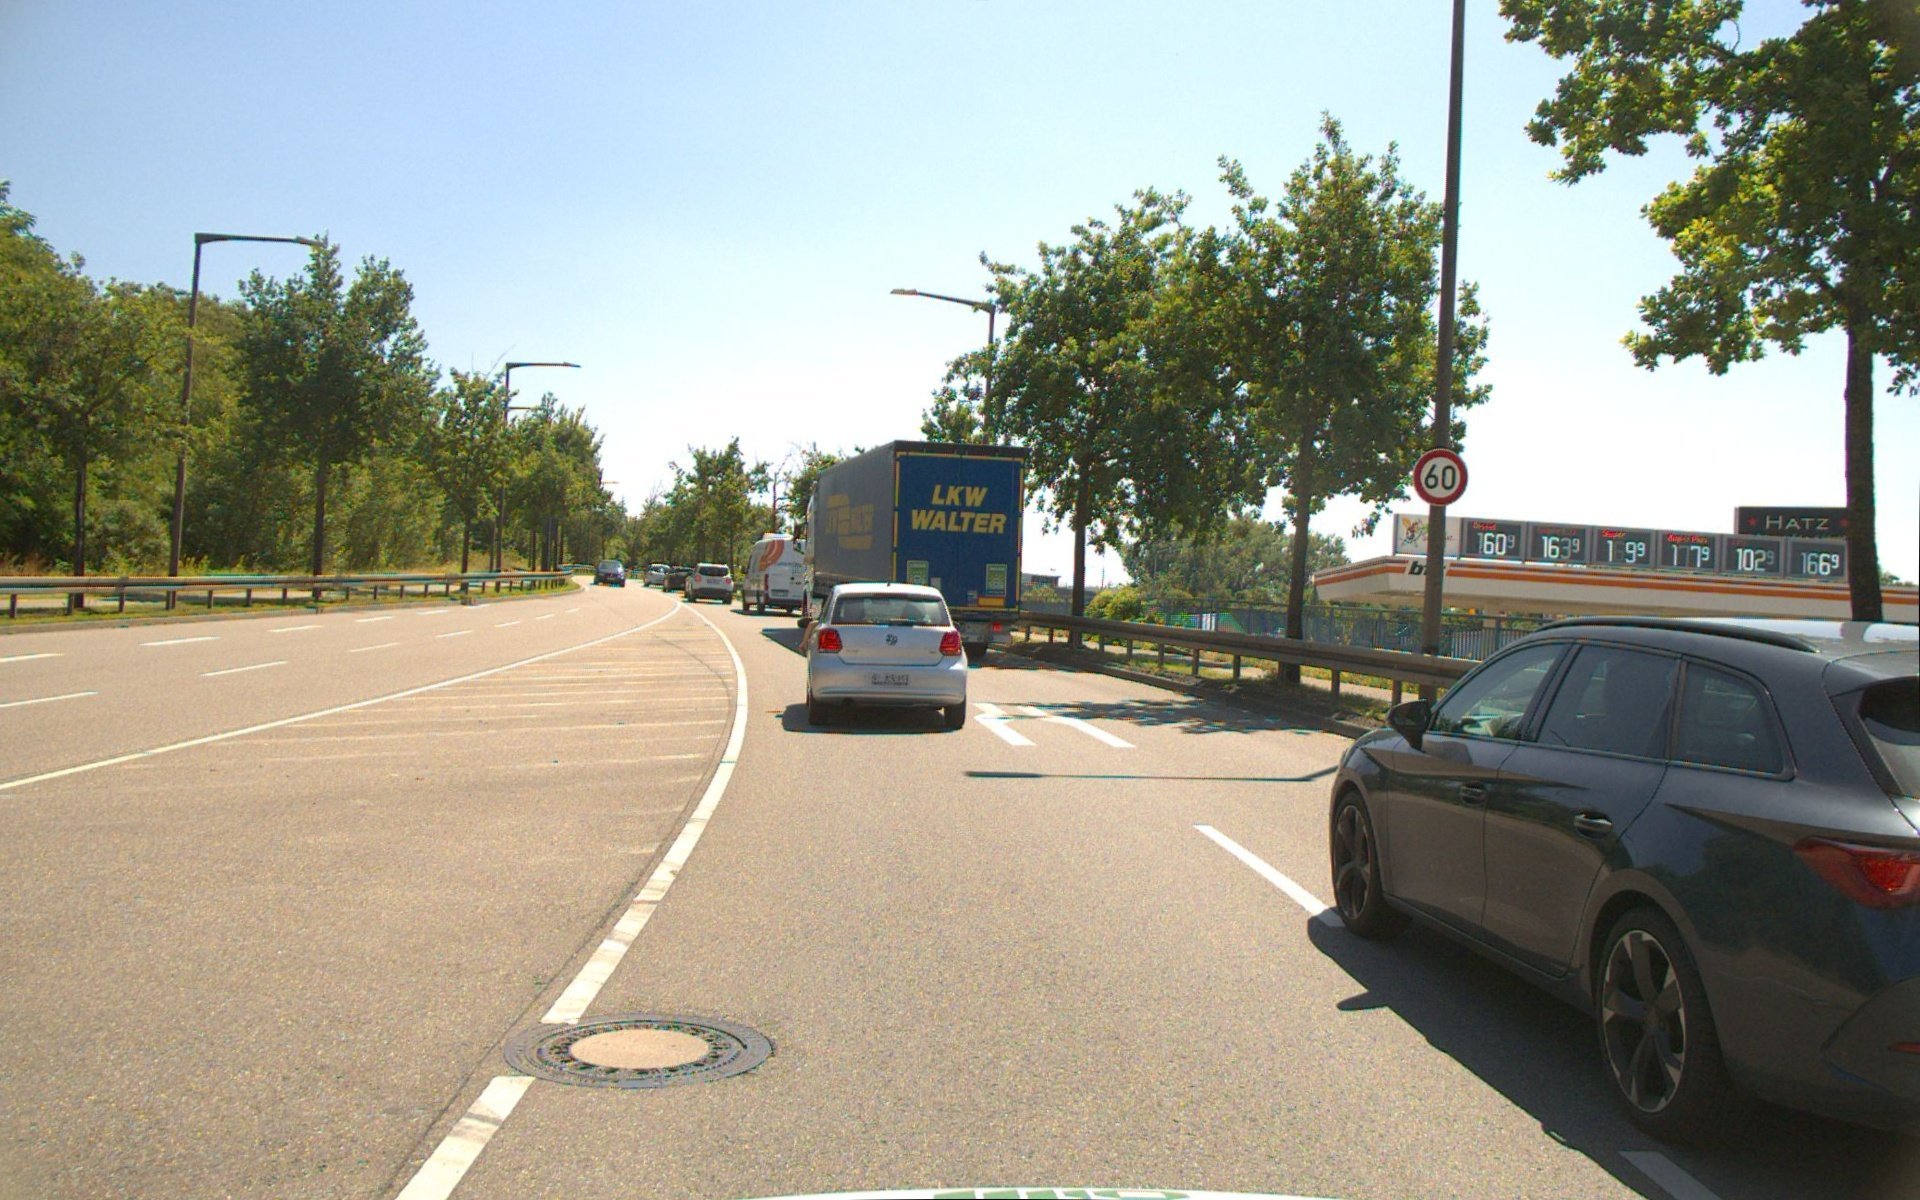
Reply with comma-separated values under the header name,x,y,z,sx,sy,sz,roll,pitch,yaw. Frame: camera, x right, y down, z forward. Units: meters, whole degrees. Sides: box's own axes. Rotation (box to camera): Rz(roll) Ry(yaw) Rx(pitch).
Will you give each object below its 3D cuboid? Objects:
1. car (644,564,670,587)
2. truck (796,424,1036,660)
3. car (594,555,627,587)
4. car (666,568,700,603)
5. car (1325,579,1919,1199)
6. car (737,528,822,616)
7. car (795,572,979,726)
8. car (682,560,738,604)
name,x,y,z,sx,sy,sz,roll,pitch,yaw
car,-19.572,-1.572,106.764,1.579,1.384,3.652,2,0,-11
truck,-1.600,-1.050,38.983,2.783,4.272,16.427,2,-1,-11
car,-20.234,-1.703,95.776,1.648,1.700,3.747,2,2,-9
car,-15.602,-0.795,93.147,1.691,1.756,3.988,3,-1,-12
car,2.686,0.769,5.740,1.573,1.481,4.231,2,-1,-4
car,-6.668,-1.028,60.586,2.139,2.951,6.335,2,0,-14
car,-0.891,0.524,18.175,1.615,1.464,3.529,2,-1,-9
car,-10.917,-0.744,71.980,1.872,1.748,4.206,3,-1,-15
